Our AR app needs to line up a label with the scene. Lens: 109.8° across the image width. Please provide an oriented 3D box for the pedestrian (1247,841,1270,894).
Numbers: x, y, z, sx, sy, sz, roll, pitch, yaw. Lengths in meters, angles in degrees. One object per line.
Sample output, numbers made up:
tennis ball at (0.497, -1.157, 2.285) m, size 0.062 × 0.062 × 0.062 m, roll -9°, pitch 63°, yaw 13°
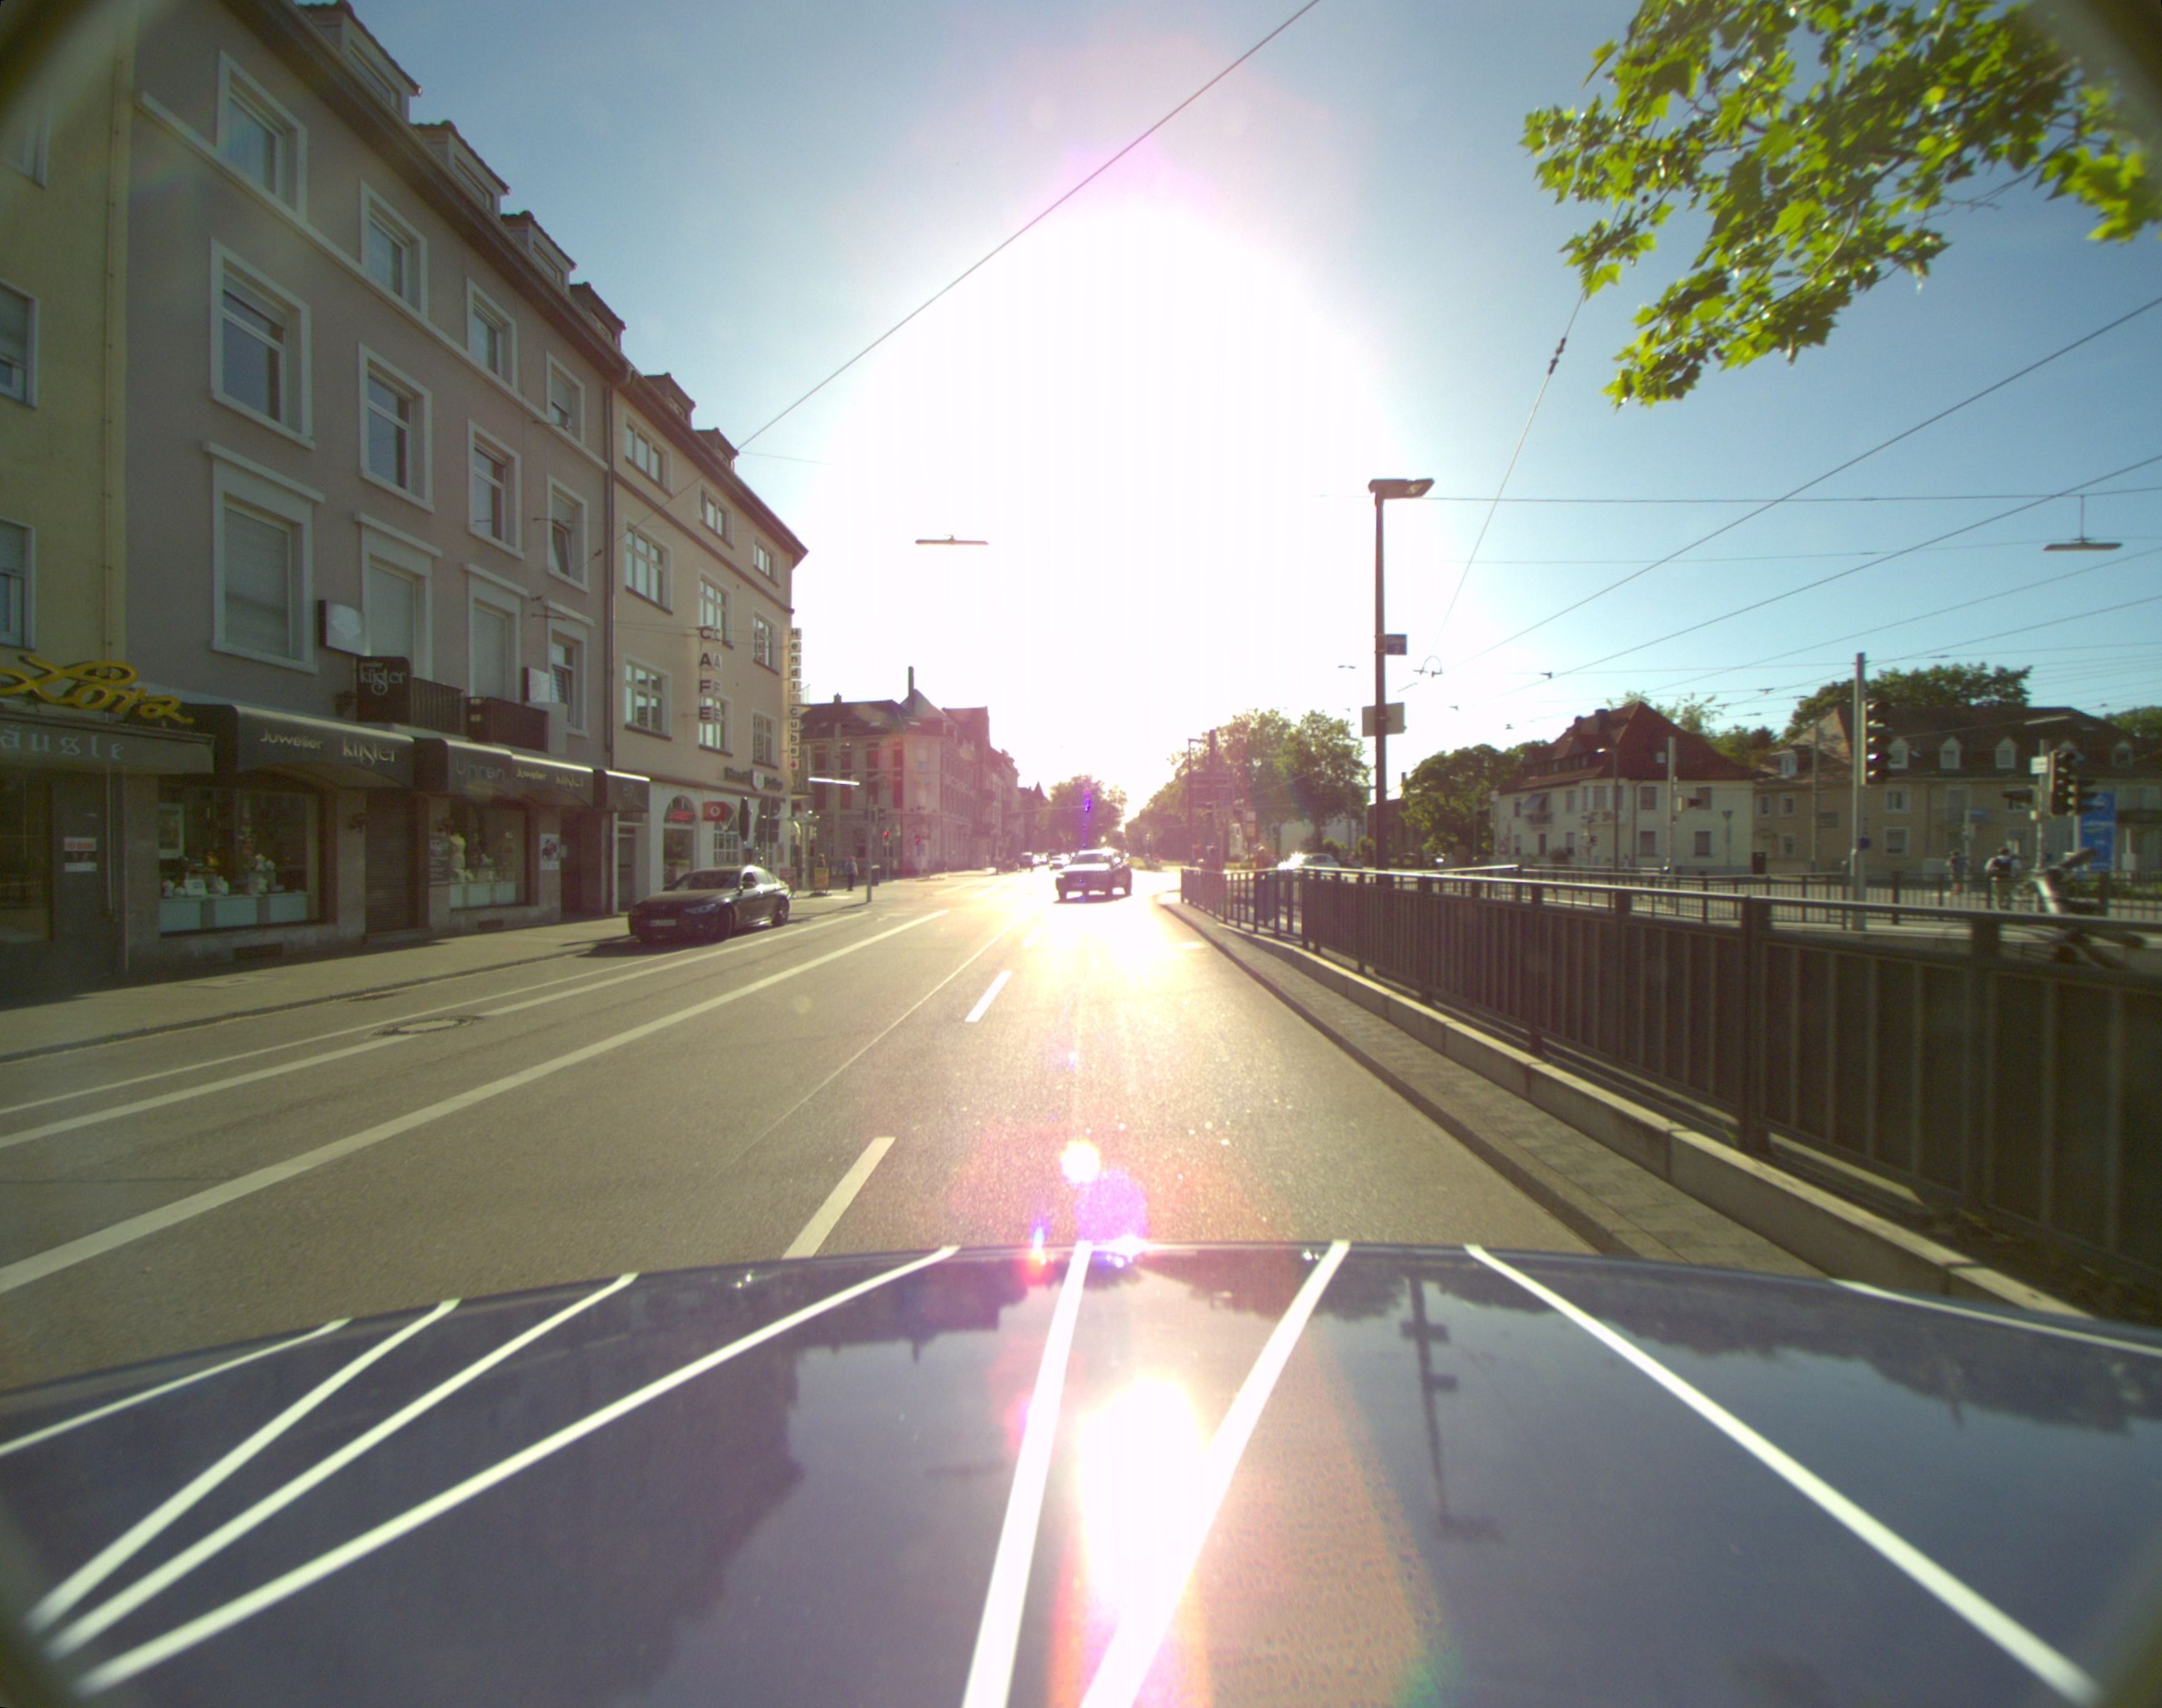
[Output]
pedestrian at (6.156, 0.466, 26.343) m, size 0.651 × 1.821 × 0.808 m, roll 0°, pitch 1°, yaw 4°

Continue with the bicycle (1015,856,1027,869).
bicycle at (-5.532, 0.791, 70.544) m, size 0.693 × 1.208 × 2.299 m, roll 0°, pitch 1°, yaw 6°

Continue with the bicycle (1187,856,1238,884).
bicycle at (6.551, 0.762, 37.789) m, size 2.382 × 1.349 × 1.020 m, roll 0°, pitch 1°, yaw -26°

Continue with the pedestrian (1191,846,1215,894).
pedestrian at (4.320, 0.574, 26.971) m, size 0.799 × 1.680 × 0.776 m, roll 0°, pitch 1°, yaw 4°

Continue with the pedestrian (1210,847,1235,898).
pedestrian at (4.732, 0.605, 25.421) m, size 0.743 × 1.680 × 0.776 m, roll 0°, pitch 1°, yaw 4°

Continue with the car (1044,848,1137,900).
car at (0.462, 0.650, 27.019) m, size 1.977 × 1.660 × 4.626 m, roll -1°, pitch 1°, yaw 18°

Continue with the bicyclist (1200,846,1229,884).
bicyclist at (6.633, 0.541, 37.788) m, size 1.005 × 1.872 × 0.991 m, roll -1°, pitch 1°, yaw -26°

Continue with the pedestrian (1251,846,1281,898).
pedestrian at (6.158, 0.591, 25.301) m, size 0.803 × 1.680 × 1.008 m, roll 0°, pitch 1°, yaw 4°

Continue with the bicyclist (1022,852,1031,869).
bicyclist at (-5.255, 0.630, 73.373) m, size 0.696 × 1.596 × 0.745 m, roll 0°, pitch 1°, yaw 6°

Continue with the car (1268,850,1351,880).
car at (13.021, 0.589, 43.263) m, size 4.278 × 1.595 × 1.996 m, roll 0°, pitch 1°, yaw -26°

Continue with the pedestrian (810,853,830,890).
pedestrian at (-12.022, 0.805, 34.985) m, size 0.663 × 1.680 × 0.677 m, roll 0°, pitch 1°, yaw 0°

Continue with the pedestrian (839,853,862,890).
pedestrian at (-10.537, 0.815, 34.775) m, size 0.775 × 1.680 × 0.800 m, roll -1°, pitch -1°, yaw 0°

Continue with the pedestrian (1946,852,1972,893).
pedestrian at (37.291, 0.776, 32.276) m, size 0.493 × 1.760 × 0.522 m, roll 0°, pitch 1°, yaw 13°

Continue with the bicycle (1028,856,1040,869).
bicycle at (-4.383, 0.787, 71.022) m, size 0.693 × 1.208 × 2.299 m, roll 0°, pitch 1°, yaw 6°

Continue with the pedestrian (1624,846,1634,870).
pedestrian at (39.485, 0.314, 54.713) m, size 0.417 × 1.733 × 0.409 m, roll 0°, pitch 1°, yaw 0°

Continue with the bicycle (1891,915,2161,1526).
bicycle at (2.818, 0.880, 1.274) m, size 0.641 × 1.371 × 2.169 m, roll 0°, pitch 0°, yaw 2°

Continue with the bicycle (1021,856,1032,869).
bicycle at (-5.237, 0.834, 73.515) m, size 0.693 × 1.208 × 2.299 m, roll 0°, pitch 1°, yaw 6°

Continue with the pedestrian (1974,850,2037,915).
pedestrian at (24.612, 0.744, 20.237) m, size 0.653 × 1.680 × 0.826 m, roll 0°, pitch 1°, yaw -7°

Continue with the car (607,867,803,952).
car at (-7.847, 1.074, 16.497) m, size 1.904 × 1.421 × 4.716 m, roll -2°, pitch 0°, yaw -1°

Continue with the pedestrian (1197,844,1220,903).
pedestrian at (4.009, 0.605, 23.934) m, size 0.637 × 1.817 × 0.776 m, roll 0°, pitch 1°, yaw 4°

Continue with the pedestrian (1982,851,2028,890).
pedestrian at (35.624, 0.615, 29.309) m, size 0.768 × 1.475 × 0.800 m, roll 0°, pitch 1°, yaw -1°

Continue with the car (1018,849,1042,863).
car at (-6.229, 0.229, 93.433) m, size 2.295 × 1.716 × 4.595 m, roll 0°, pitch 0°, yaw 3°

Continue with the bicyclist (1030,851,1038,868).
bicyclist at (-4.425, 0.547, 71.720) m, size 0.696 × 1.596 × 0.745 m, roll 0°, pitch 1°, yaw 6°

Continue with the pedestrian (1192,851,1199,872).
pedestrian at (9.867, 0.631, 65.645) m, size 0.581 × 1.824 × 0.559 m, roll 0°, pitch 1°, yaw 10°

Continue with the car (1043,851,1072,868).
car at (-2.322, 0.536, 76.689) m, size 2.294 × 1.566 × 4.595 m, roll 0°, pitch 0°, yaw 6°

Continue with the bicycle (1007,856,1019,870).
bicycle at (-6.279, 0.825, 70.581) m, size 0.693 × 1.208 × 2.299 m, roll 0°, pitch 1°, yaw 6°

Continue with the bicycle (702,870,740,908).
bicycle at (-11.569, 1.100, 24.467) m, size 0.697 × 1.102 × 1.863 m, roll 0°, pitch 1°, yaw -13°

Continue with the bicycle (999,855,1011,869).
bicycle at (-7.119, 0.755, 71.460) m, size 0.693 × 1.208 × 2.299 m, roll 0°, pitch 1°, yaw 6°
